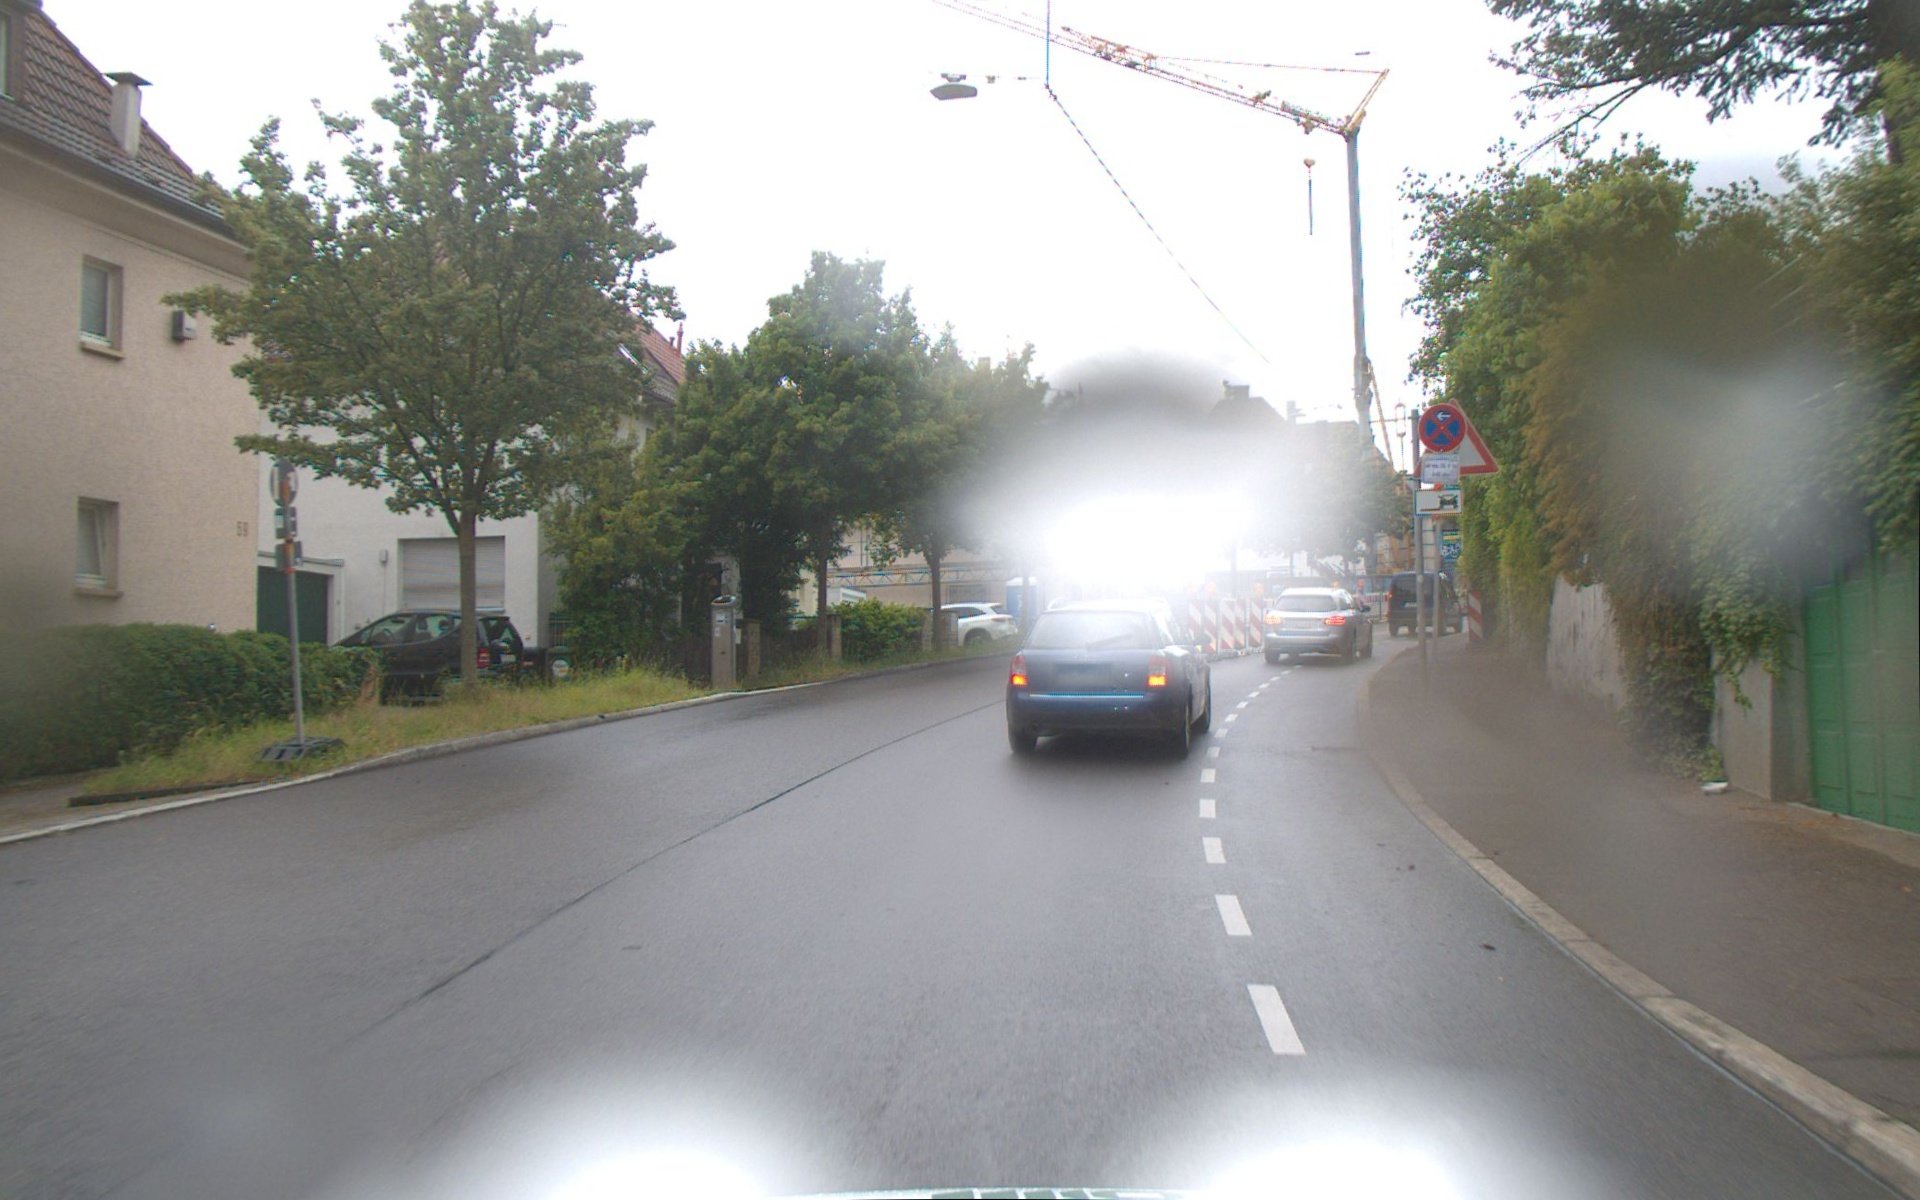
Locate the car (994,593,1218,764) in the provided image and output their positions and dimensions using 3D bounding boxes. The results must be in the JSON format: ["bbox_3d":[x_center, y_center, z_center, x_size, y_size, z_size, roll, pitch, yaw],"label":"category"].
[{"bbox_3d":[1.587,0.680,16.590,1.739,1.464,4.003,1,0,12],"label":"car"}]

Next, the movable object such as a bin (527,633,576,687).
[{"bbox_3d":[-7.344,1.068,29.733,0.655,0.937,0.592,0,0,14],"label":"movable object such as a bin"}]

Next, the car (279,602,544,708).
[{"bbox_3d":[-9.300,0.886,28.156,3.856,1.570,1.865,2,1,14],"label":"car"}]

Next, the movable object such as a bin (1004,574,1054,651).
[{"bbox_3d":[2.345,0.419,56.176,1.285,2.549,1.387,-2,0,17],"label":"movable object such as a bin"}]

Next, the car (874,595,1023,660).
[{"bbox_3d":[-0.344,0.844,50.968,4.108,1.632,1.952,-5,-2,15],"label":"car"}]

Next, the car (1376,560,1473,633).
[{"bbox_3d":[13.817,-0.125,49.029,1.698,1.927,4.048,-5,-1,30],"label":"car"}]

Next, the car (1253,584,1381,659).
[{"bbox_3d":[7.323,0.390,33.656,1.869,1.412,4.351,-1,0,21],"label":"car"}]
